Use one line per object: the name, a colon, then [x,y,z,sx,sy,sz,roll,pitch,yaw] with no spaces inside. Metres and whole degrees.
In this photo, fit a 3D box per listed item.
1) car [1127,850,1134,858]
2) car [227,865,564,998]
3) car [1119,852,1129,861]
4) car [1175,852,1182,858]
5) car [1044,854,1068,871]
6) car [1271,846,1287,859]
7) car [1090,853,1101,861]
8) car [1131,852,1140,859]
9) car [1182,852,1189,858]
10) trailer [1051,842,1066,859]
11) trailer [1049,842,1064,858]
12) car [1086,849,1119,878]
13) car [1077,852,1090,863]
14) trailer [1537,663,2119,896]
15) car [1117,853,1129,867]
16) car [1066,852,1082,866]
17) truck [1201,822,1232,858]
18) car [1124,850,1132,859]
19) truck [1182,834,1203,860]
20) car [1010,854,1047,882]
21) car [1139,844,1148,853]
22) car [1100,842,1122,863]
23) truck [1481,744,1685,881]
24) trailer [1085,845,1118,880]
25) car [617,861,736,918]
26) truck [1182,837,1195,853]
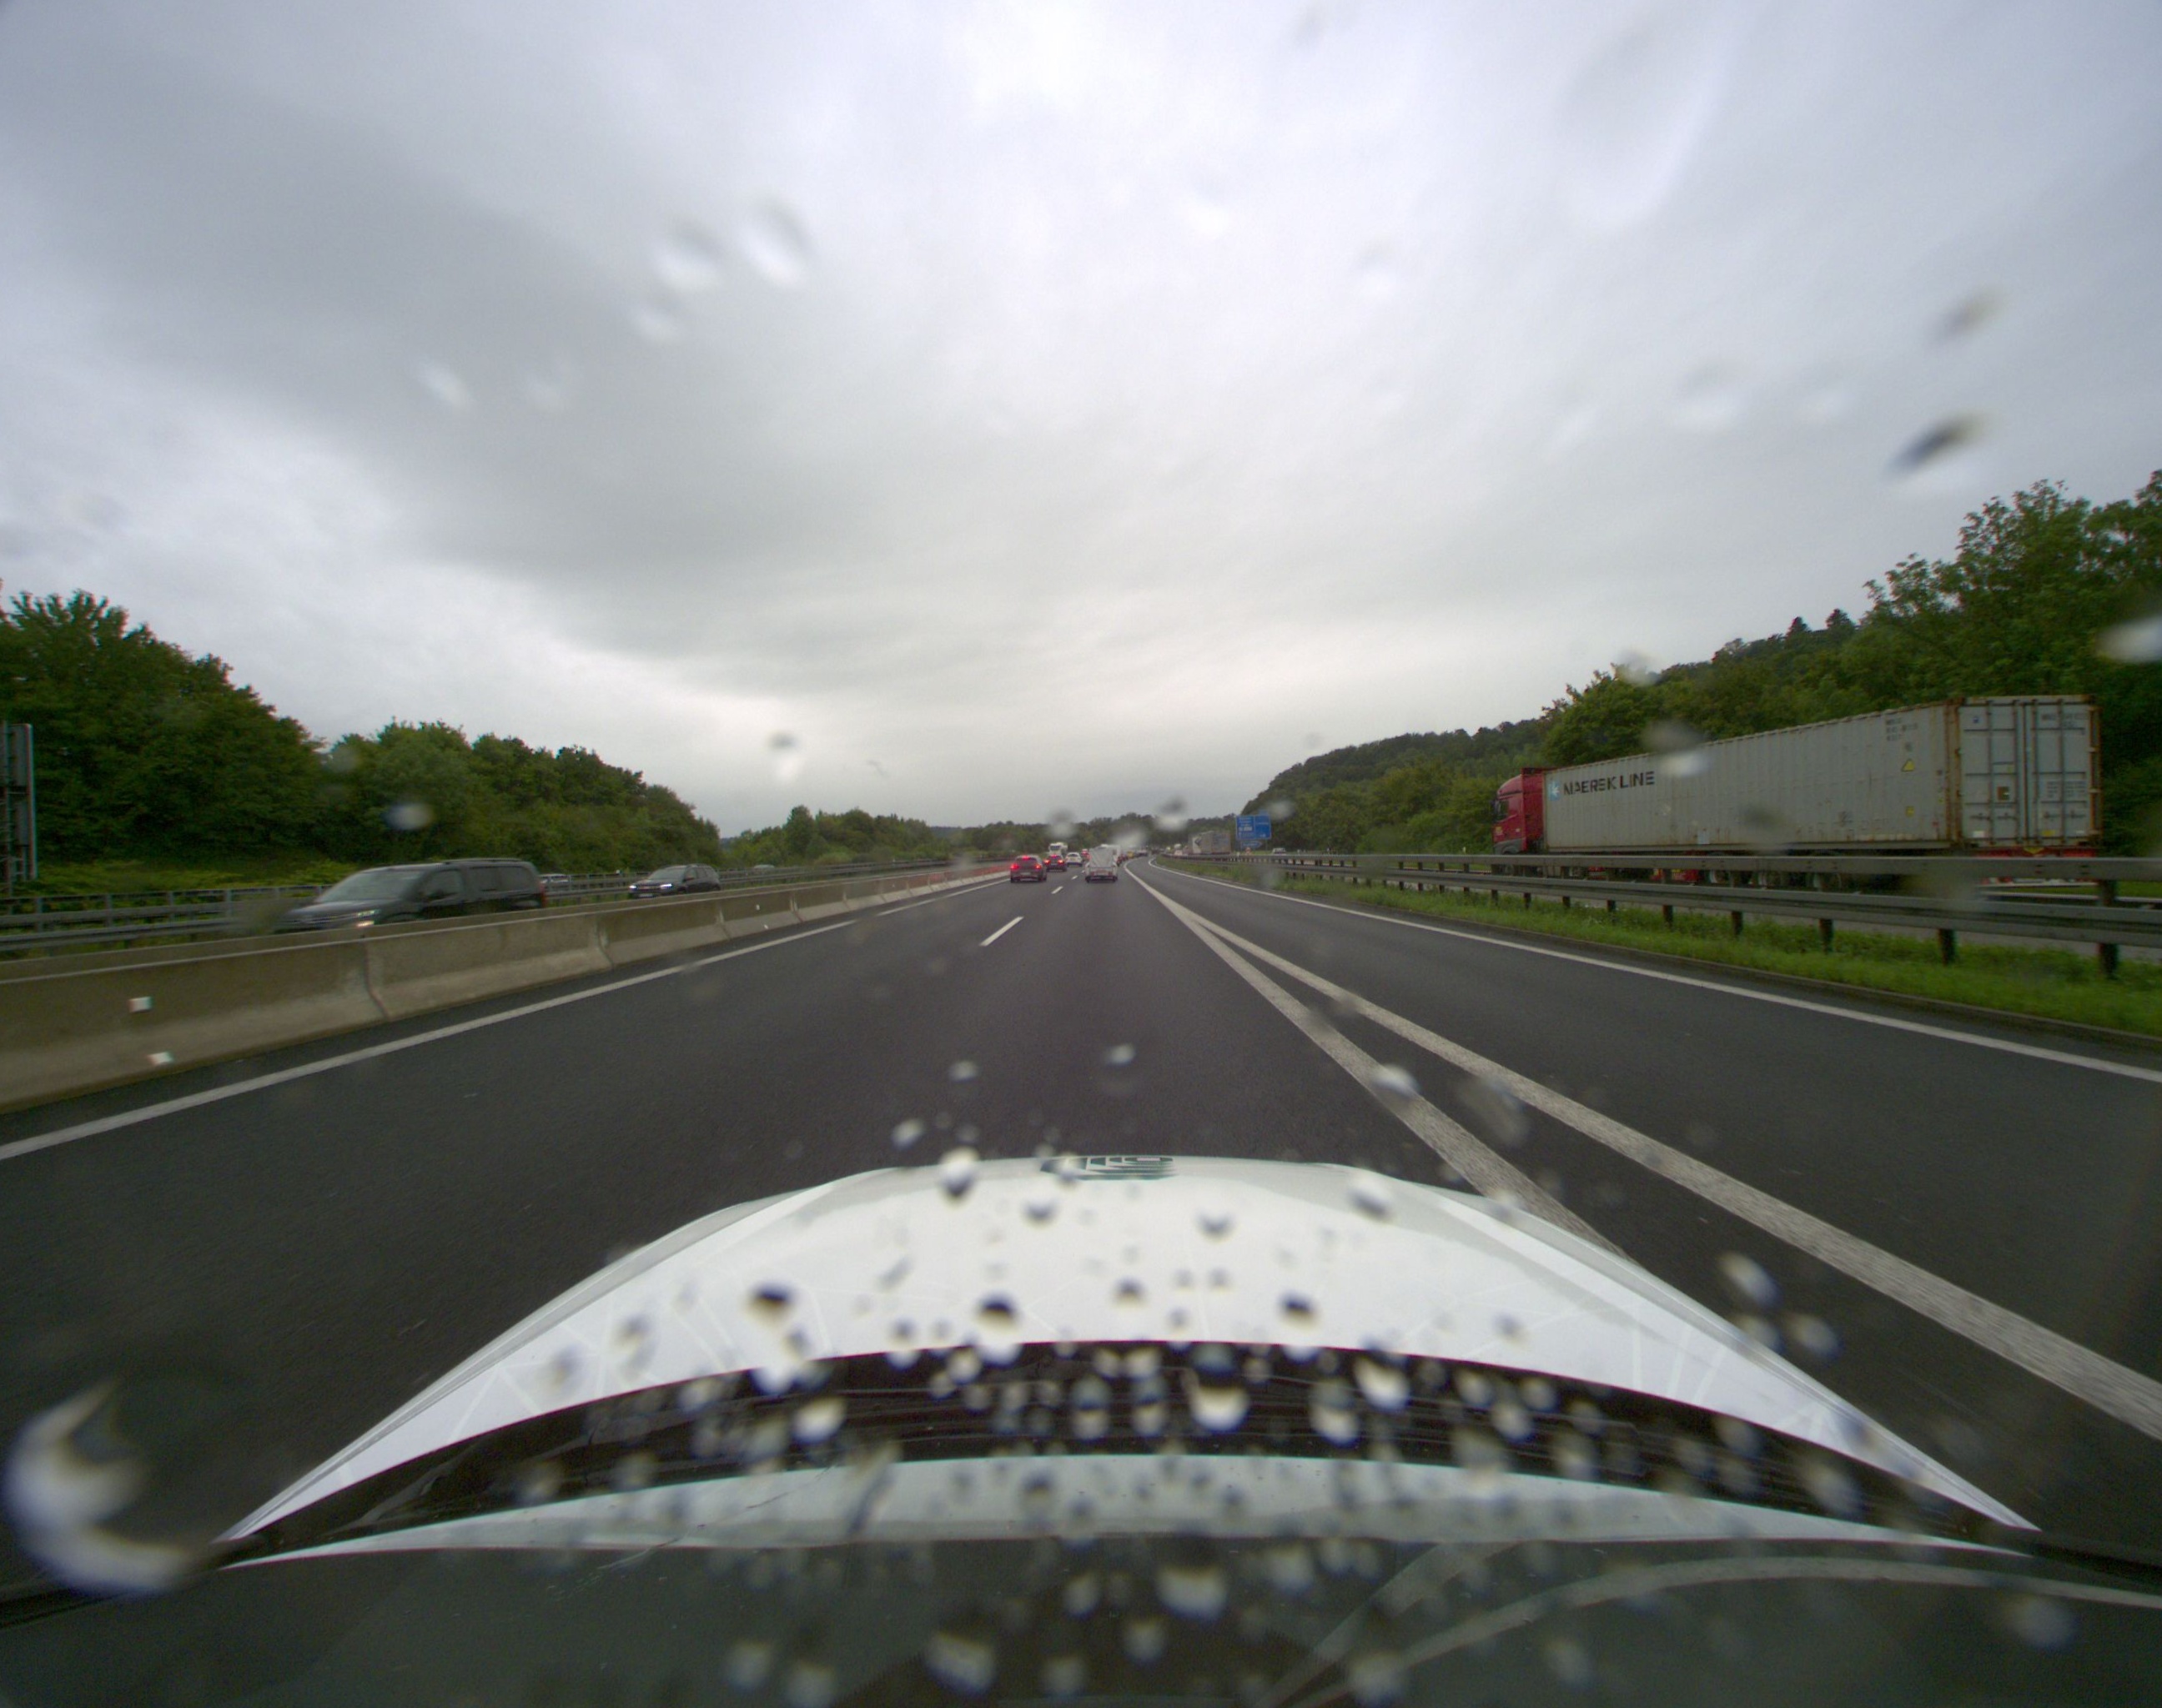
car: [11.905,-0.056,196.875,1.668,1.812,4.004,-1,0,4]
car: [-12.348,1.246,15.268,1.986,2.014,4.984,-1,0,2]
car: [8.092,0.474,153.517,1.668,1.812,4.004,-1,0,4]
car: [22.728,0.268,190.212,1.667,1.456,4.006,-1,0,6]
car: [-2.105,0.715,69.865,1.759,1.456,4.001,-1,0,2]
car: [23.625,-0.192,97.040,1.665,1.456,4.012,-1,0,11]
car: [2.850,0.620,158.860,1.768,1.640,4.047,-1,0,4]
car: [14.104,0.415,212.173,2.026,1.683,4.008,-1,0,7]
car: [27.123,0.315,211.206,1.668,1.456,4.003,-1,0,3]
trailer: [-5.258,-0.815,191.122,2.625,3.736,10.819,-1,0,3]
trailer: [-5.544,-0.894,185.310,2.626,3.715,6.496,-1,0,3]
car: [1.301,0.560,48.042,1.811,1.616,4.780,-1,0,2]
car: [0.437,0.520,119.074,1.769,1.640,4.044,-1,0,2]
trailer: [16.064,-1.227,19.930,2.596,3.894,12.485,-1,0,-1]
car: [6.462,0.862,124.925,1.668,2.067,4.004,-1,0,4]
car: [-0.803,0.579,95.028,1.769,1.640,4.044,-1,0,2]
truck: [18.670,-1.790,113.061,3.201,4.666,13.048,-1,0,5]
car: [9.759,0.124,169.866,1.668,1.812,4.004,-1,0,4]
truck: [20.758,-1.179,151.718,3.200,4.666,13.051,-1,0,5]
car: [-2.865,0.739,45.228,1.669,1.456,4.001,-1,0,2]
car: [18.356,-1.716,239.839,2.503,2.574,5.321,-1,0,6]
car: [3.816,-0.154,101.175,2.496,2.585,5.706,-1,0,4]
truck: [15.949,-1.181,26.536,2.608,3.884,6.389,-1,0,-1]
trailer: [1.137,0.447,44.350,1.669,1.812,4.002,-1,0,2]
car: [-15.544,1.299,31.654,1.986,2.014,4.984,-1,0,2]
truck: [34.024,-2.861,257.926,3.644,4.666,13.057,-1,0,7]
